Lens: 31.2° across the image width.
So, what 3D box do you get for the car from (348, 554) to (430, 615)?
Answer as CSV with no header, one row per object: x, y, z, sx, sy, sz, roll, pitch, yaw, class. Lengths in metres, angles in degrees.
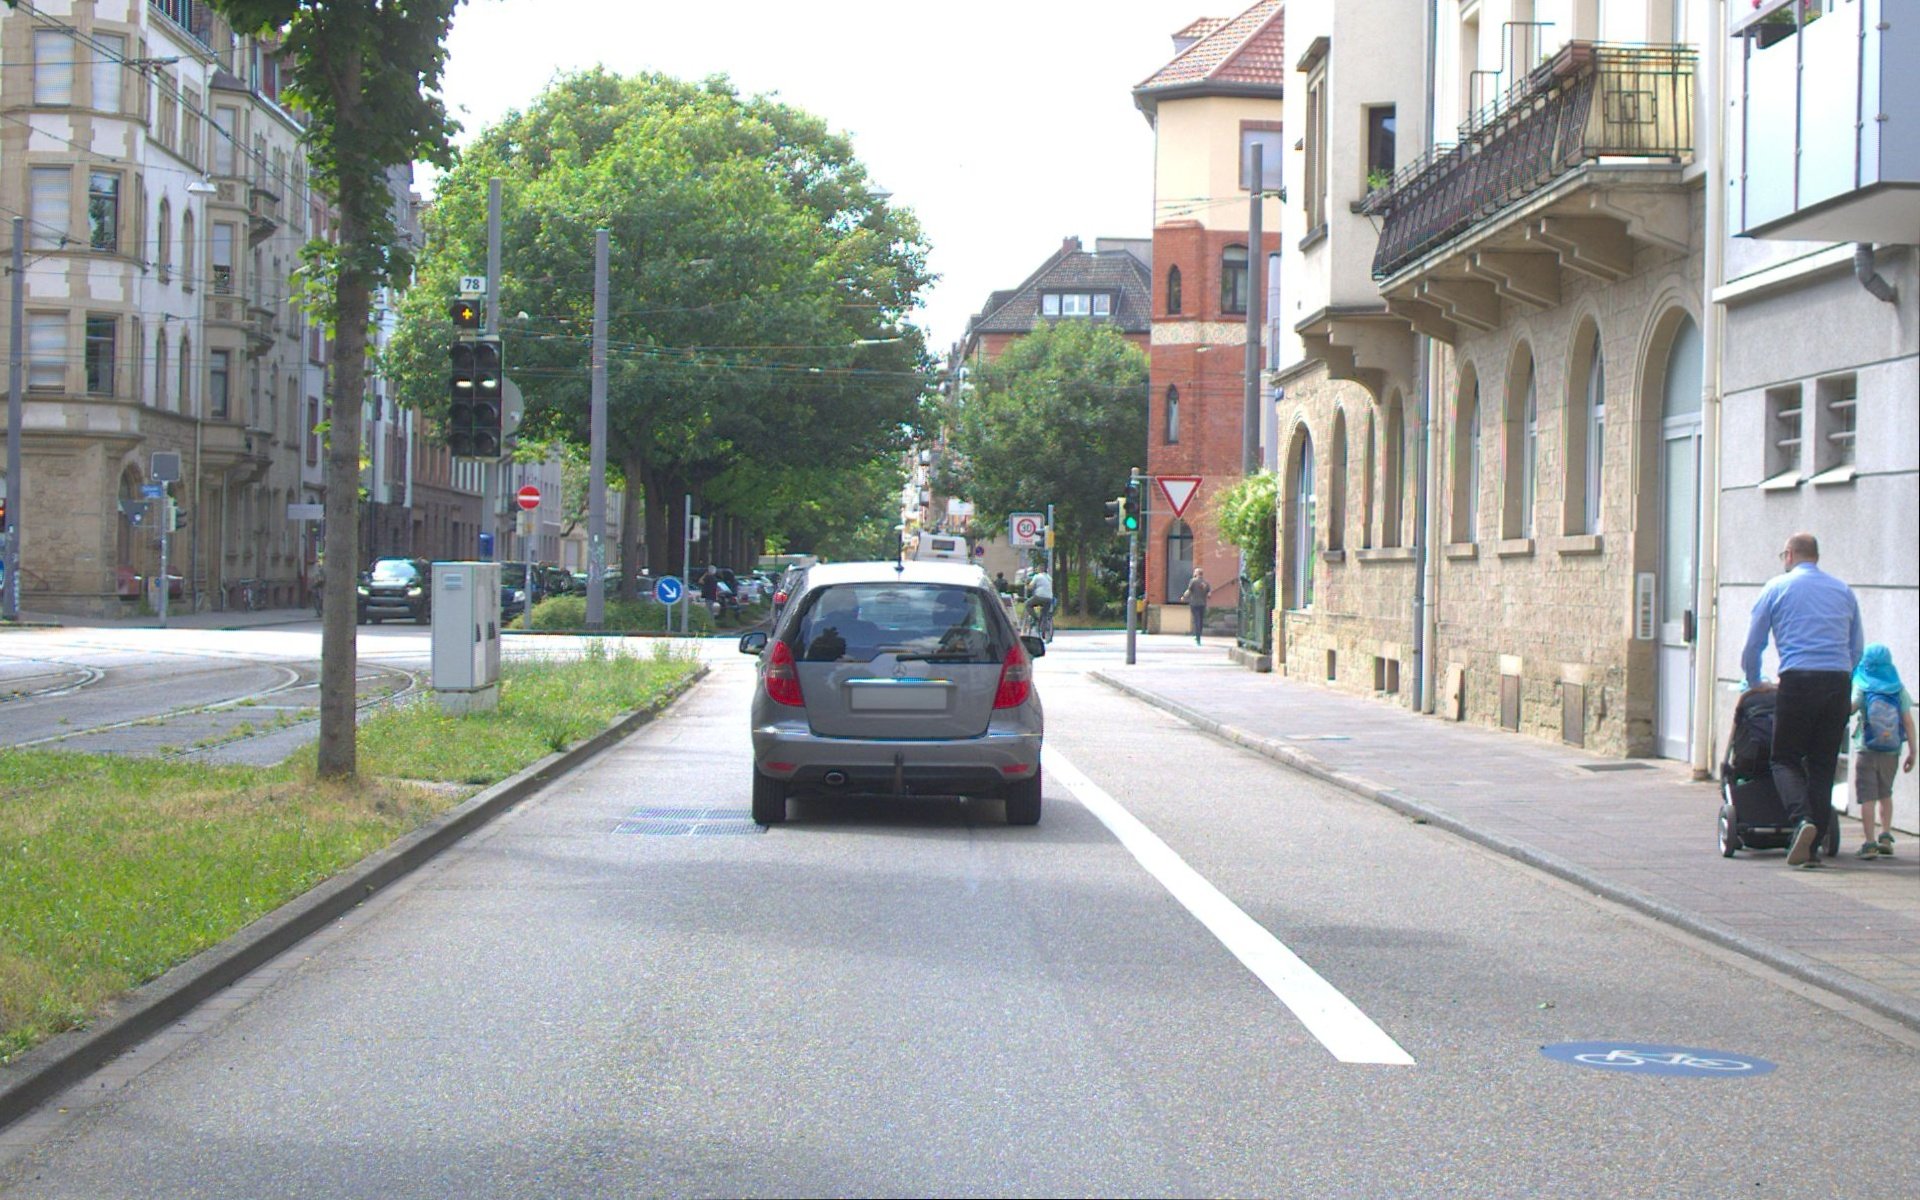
-15.624,-0.423,94.215,1.993,1.612,4.001,0,0,-6,car

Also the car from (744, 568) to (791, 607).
-7.804,-0.519,139.663,1.752,1.512,3.499,1,0,-1,car

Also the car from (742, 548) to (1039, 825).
-0.417,0.493,21.897,1.722,1.600,3.677,1,0,0,car

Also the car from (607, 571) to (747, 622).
-8.014,-0.113,97.072,1.969,1.334,3.999,1,1,-40,car

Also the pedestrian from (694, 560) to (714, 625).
-6.866,-0.207,92.277,0.493,1.719,0.654,1,0,-6,pedestrian

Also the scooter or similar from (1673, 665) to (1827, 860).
4.365,0.888,19.039,0.592,0.998,0.905,-3,0,0,scooter or similar

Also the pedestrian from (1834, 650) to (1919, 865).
5.018,0.842,18.573,0.456,1.131,0.494,1,0,0,pedestrian

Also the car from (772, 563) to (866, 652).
-2.764,0.131,68.032,1.722,1.700,3.677,1,0,0,car

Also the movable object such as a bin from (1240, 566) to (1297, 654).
5.174,0.162,57.673,0.714,1.467,0.983,0,0,-10,movable object such as a bin

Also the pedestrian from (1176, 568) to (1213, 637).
5.685,0.066,83.324,0.869,1.651,0.736,1,0,3,pedestrian

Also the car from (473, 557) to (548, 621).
-12.496,-0.313,95.740,1.993,1.722,4.001,0,0,-6,car

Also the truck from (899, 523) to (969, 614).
-0.844,-1.054,115.489,2.123,2.960,4.000,1,0,3,truck

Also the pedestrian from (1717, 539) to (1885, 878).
4.439,0.556,18.183,0.621,1.733,0.877,-2,0,0,pedestrian
